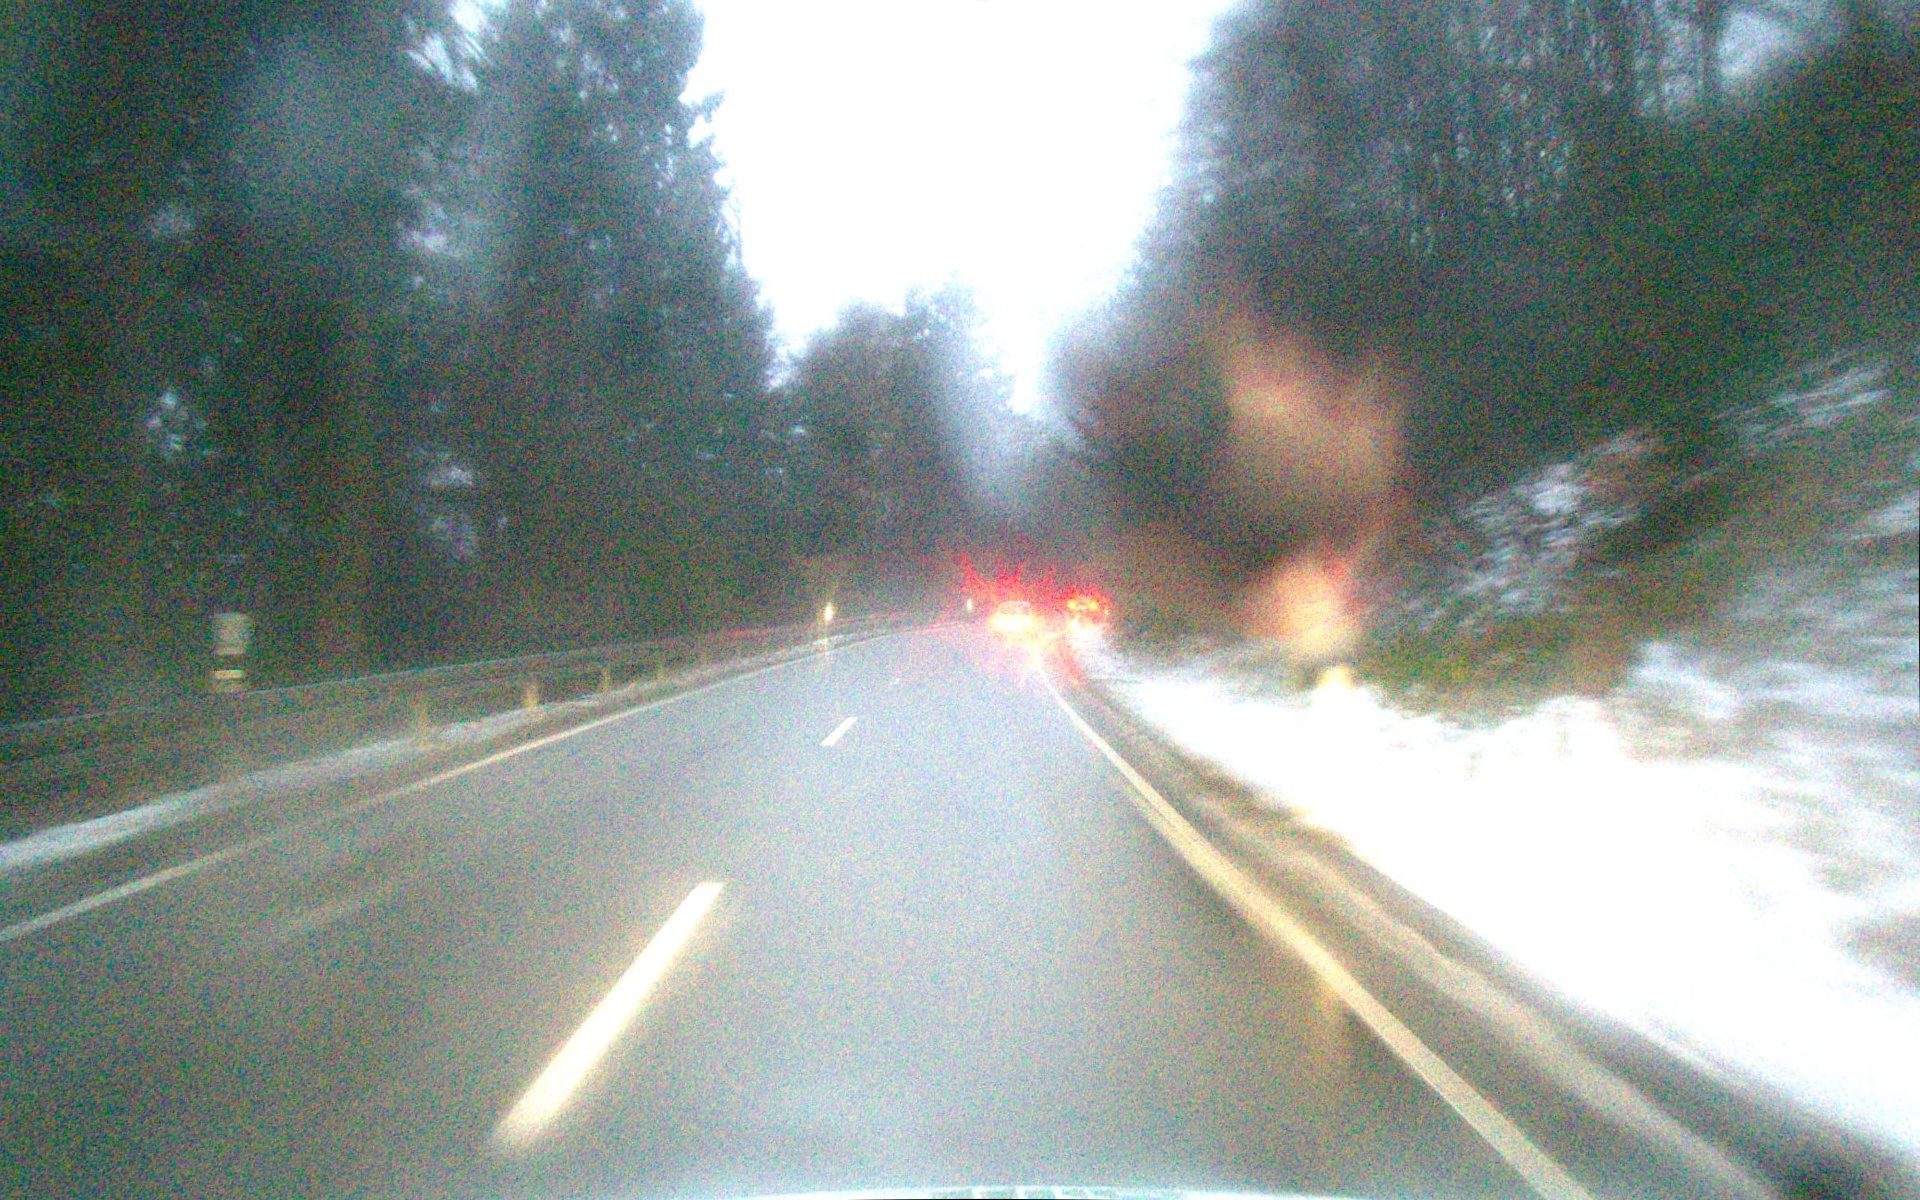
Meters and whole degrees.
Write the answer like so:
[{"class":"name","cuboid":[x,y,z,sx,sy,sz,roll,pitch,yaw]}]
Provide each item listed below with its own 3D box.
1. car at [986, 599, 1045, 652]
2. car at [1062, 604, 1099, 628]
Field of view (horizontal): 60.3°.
[{"class":"car","cuboid":[2.178,0.961,63.989,1.951,1.905,4.003,-2,0,6]},{"class":"car","cuboid":[7.377,0.967,100.827,1.951,1.333,4.004,-2,0,8]}]
